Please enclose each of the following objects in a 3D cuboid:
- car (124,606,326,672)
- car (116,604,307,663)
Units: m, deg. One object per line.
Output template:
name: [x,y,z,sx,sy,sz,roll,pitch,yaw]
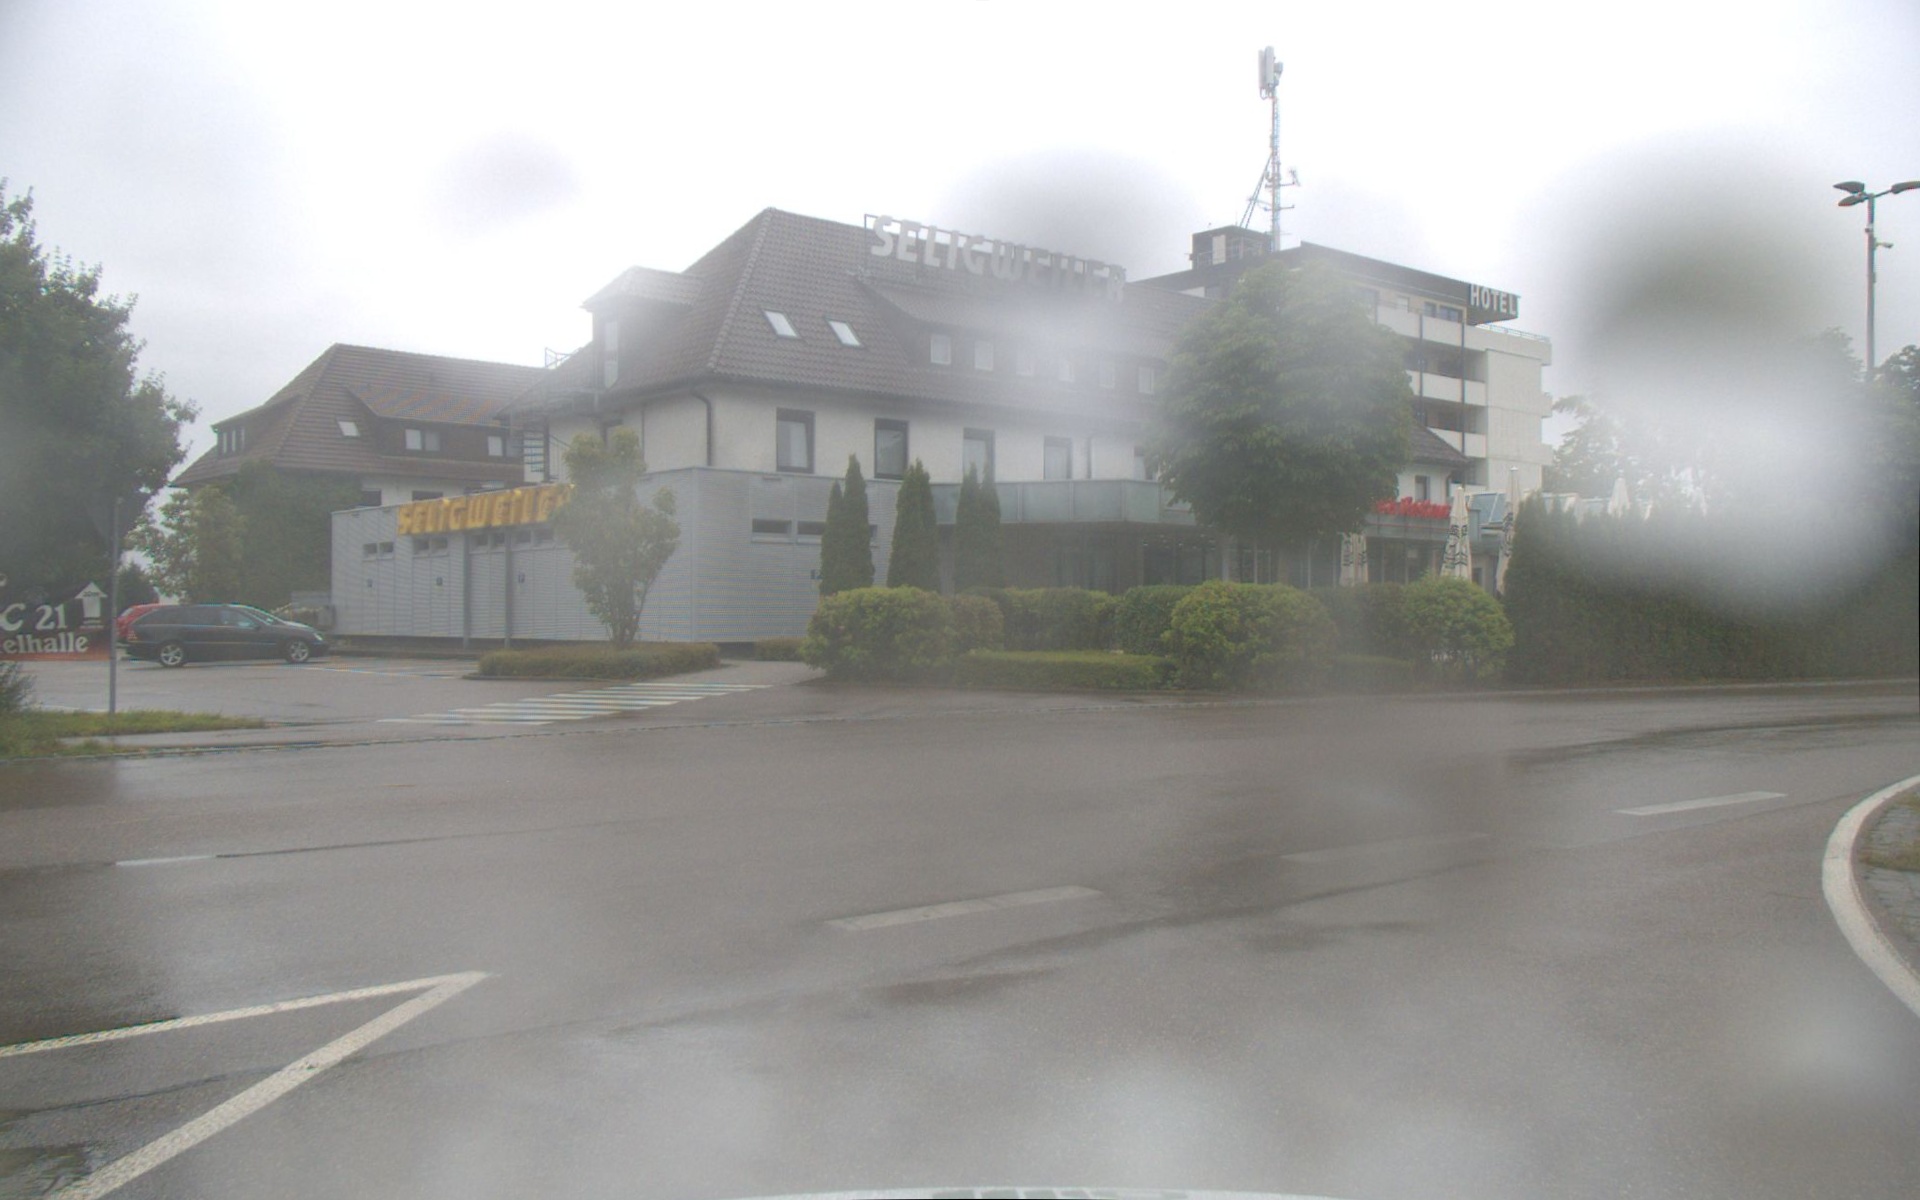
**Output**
car: [-17.468,0.897,39.452,4.290,1.450,1.693,-1,0,-25]
car: [-19.874,0.877,44.015,4.325,1.450,1.821,-1,-1,-43]
